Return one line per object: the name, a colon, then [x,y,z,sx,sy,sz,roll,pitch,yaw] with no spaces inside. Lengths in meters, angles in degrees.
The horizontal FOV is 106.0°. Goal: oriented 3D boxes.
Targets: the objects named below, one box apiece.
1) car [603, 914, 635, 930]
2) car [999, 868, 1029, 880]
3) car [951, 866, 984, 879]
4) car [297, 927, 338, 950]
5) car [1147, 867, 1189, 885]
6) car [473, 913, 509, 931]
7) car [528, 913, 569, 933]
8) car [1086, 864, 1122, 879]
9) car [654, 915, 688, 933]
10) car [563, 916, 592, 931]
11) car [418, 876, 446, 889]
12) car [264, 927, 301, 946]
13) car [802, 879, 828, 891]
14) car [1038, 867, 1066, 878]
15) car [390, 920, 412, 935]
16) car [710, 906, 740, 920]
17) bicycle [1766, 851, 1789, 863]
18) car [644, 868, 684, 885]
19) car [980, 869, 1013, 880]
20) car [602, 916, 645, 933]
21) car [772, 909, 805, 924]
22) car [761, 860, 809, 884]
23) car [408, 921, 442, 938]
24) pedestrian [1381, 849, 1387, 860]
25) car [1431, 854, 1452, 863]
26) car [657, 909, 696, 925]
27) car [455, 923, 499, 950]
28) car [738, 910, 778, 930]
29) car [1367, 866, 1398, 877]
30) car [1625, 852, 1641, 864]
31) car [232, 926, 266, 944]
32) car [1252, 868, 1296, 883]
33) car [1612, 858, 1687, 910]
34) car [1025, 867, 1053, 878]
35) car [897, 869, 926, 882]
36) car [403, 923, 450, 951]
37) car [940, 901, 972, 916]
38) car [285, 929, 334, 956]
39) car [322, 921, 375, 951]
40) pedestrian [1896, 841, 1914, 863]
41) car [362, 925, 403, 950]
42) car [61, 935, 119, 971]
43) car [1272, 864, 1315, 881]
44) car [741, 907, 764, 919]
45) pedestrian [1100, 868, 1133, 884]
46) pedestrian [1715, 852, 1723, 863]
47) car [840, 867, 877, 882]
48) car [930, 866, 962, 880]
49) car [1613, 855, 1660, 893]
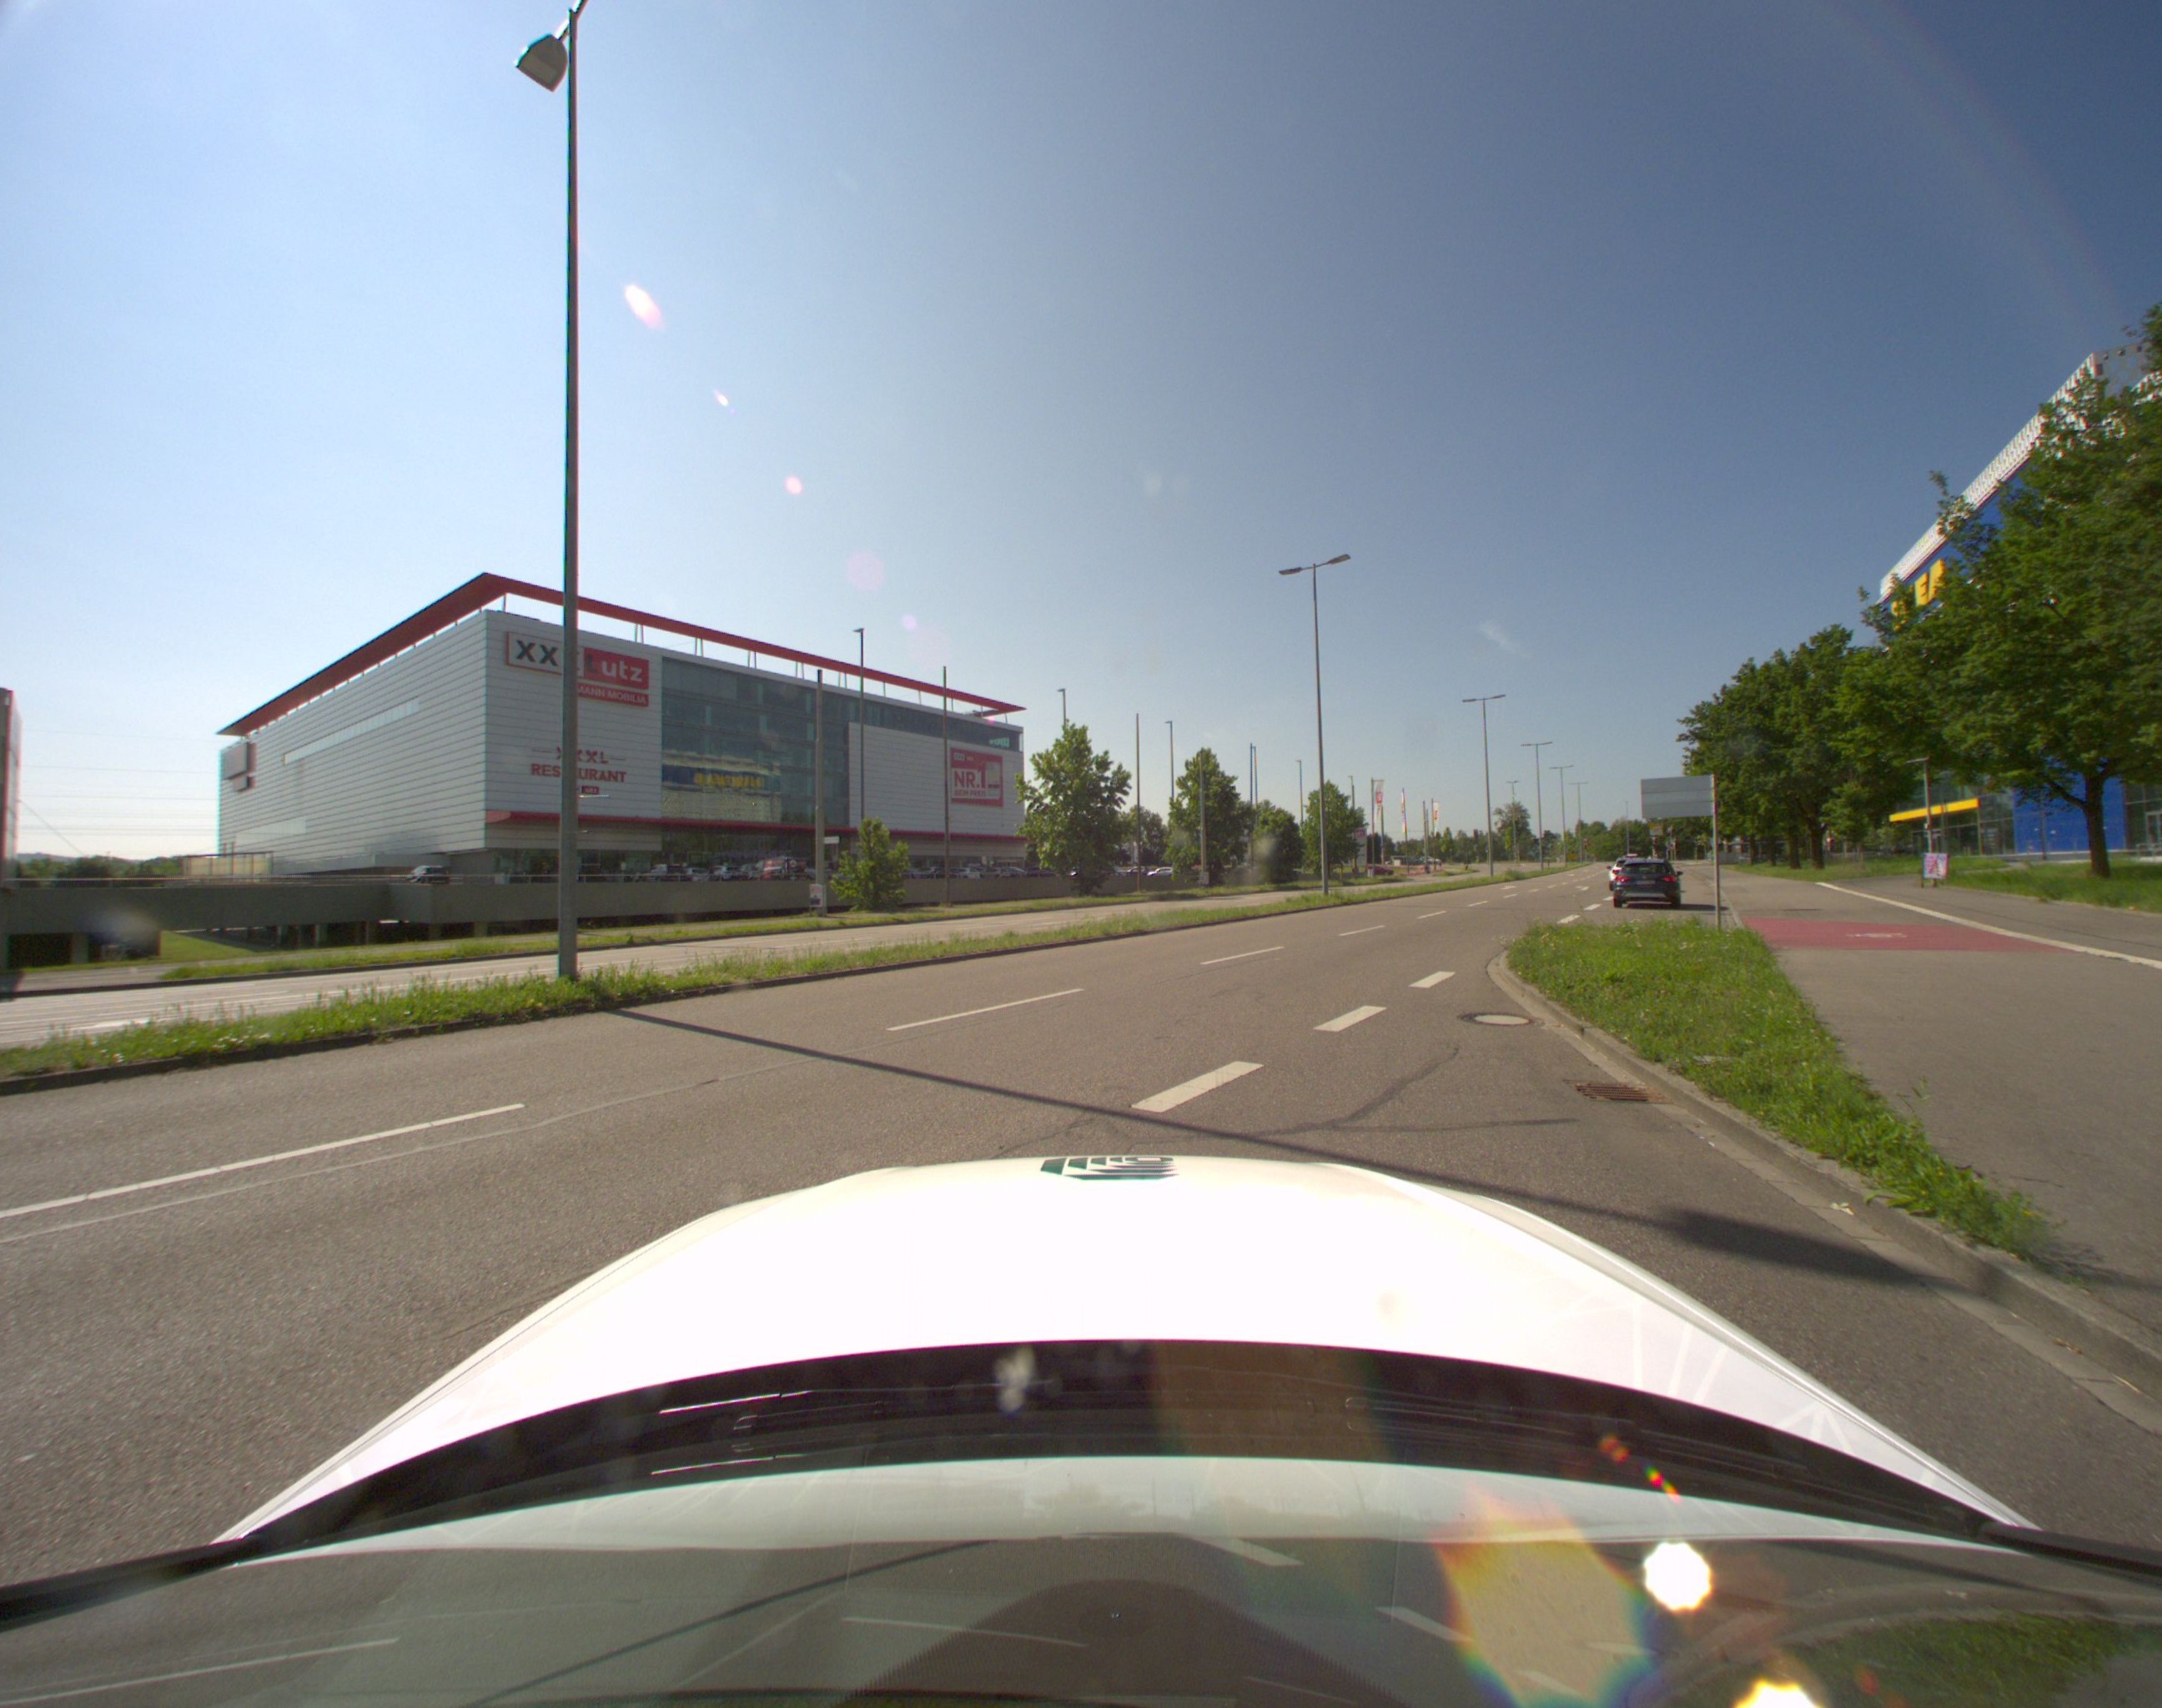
car: [-30.121,4.404,53.100,1.918,0.975,1.078,-2,-3,33]
car: [-7.596,2.308,92.407,3.057,1.330,1.525,-2,-3,34]
car: [-12.052,1.996,86.302,3.057,1.330,1.714,-2,-3,34]
car: [-38.561,4.275,41.142,1.918,1.040,1.078,-3,-2,33]
car: [10.645,2.694,99.484,4.624,2.014,2.043,-3,-2,32]
car: [-34.140,3.937,47.112,1.918,0.975,1.078,-2,-3,33]
car: [-27.803,3.601,42.514,1.918,0.975,1.078,-2,-3,33]
car: [1.749,1.304,61.141,2.488,1.060,1.078,-2,-3,33]
car: [-24.144,4.092,47.949,1.918,0.975,0.916,-2,-3,33]
car: [-35.040,4.811,56.647,1.918,0.975,0.966,-2,-3,33]
car: [-48.334,2.108,60.653,1.918,0.975,1.078,-2,-3,33]
car: [-44.723,4.617,45.606,1.918,0.975,0.936,-2,-3,29]
car: [-22.814,2.625,69.857,1.918,0.975,1.078,-3,-2,33]
car: [-3.534,2.227,98.109,3.057,1.330,1.525,-2,-3,34]
car: [-46.768,5.059,56.015,1.273,0.928,0.760,-2,-3,33]
car: [-25.762,4.238,58.953,1.918,0.975,1.078,-2,-3,33]
bicycle: [71.543,0.312,83.685,1.741,1.096,0.455,-3,-2,35]
car: [-33.355,1.816,65.124,2.981,1.330,1.525,-2,-3,34]
car: [-9.363,2.293,90.321,3.464,1.199,1.490,-2,-3,34]
car: [-21.333,3.282,37.968,2.060,0.733,0.913,-2,-3,33]
car: [-19.444,4.143,54.111,1.918,0.975,1.078,-2,-3,33]
car: [-20.273,1.227,55.837,2.739,1.556,1.785,-3,-1,34]
car: [-40.833,4.701,50.676,1.918,0.975,1.078,-2,-3,33]
pedestrian: [52.996,0.084,142.406,0.709,1.972,0.923,-3,-3,40]
car: [67.750,0.809,152.992,3.311,1.500,1.418,-2,-3,31]
car: [-17.498,2.708,35.221,1.544,0.621,0.864,-2,-3,33]
car: [-21.691,2.963,29.248,1.486,0.882,0.797,-2,-3,33]
car: [-17.348,3.528,43.742,1.918,0.975,1.078,-2,-3,33]
car: [46.071,2.702,124.613,4.143,1.606,1.838,-2,-3,31]
car: [72.368,0.522,106.789,1.689,1.573,4.201,-3,-2,34]
car: [-51.319,5.001,50.243,1.918,0.975,1.078,-2,-3,33]
car: [21.439,2.401,90.563,4.369,1.627,1.883,-2,-2,33]
car: [18.040,0.904,25.804,1.654,1.523,3.398,-1,-1,40]
car: [-4.947,2.204,96.021,3.057,1.294,1.525,-2,-3,34]
car: [-18.133,2.285,87.092,3.104,1.330,1.309,-2,-3,34]
car: [-25.708,3.253,31.982,1.824,0.975,0.872,-2,-3,33]
car: [-8.556,3.736,55.593,1.918,0.975,1.078,-2,-3,33]
car: [-32.044,3.662,33.836,1.918,0.975,1.078,-3,-2,34]
car: [-27.137,3.015,30.155,1.918,1.008,1.078,-3,-2,36]
pedestrian: [61.355,-0.157,60.639,0.681,1.612,0.776,-4,-2,32]
car: [-30.618,3.662,35.688,1.918,0.975,0.893,-2,-3,36]
car: [-30.639,3.043,25.171,1.918,0.975,0.895,-2,-2,33]
car: [24.627,2.198,94.356,4.369,1.843,1.958,-3,-2,35]
car: [-27.922,5.042,69.221,1.918,0.975,0.927,-2,-3,33]
pedestrian: [4.808,2.997,110.651,4.005,2.014,1.984,0,-2,-24]
pedestrian: [95.837,0.511,122.381,1.013,1.511,0.766,-2,-1,-44]
car: [-20.335,1.906,74.288,3.182,1.330,1.525,-2,-3,34]
car: [-13.988,1.985,84.286,3.057,1.330,1.525,-2,-3,34]
car: [25.733,0.901,37.833,1.615,1.498,3.895,-2,1,32]
